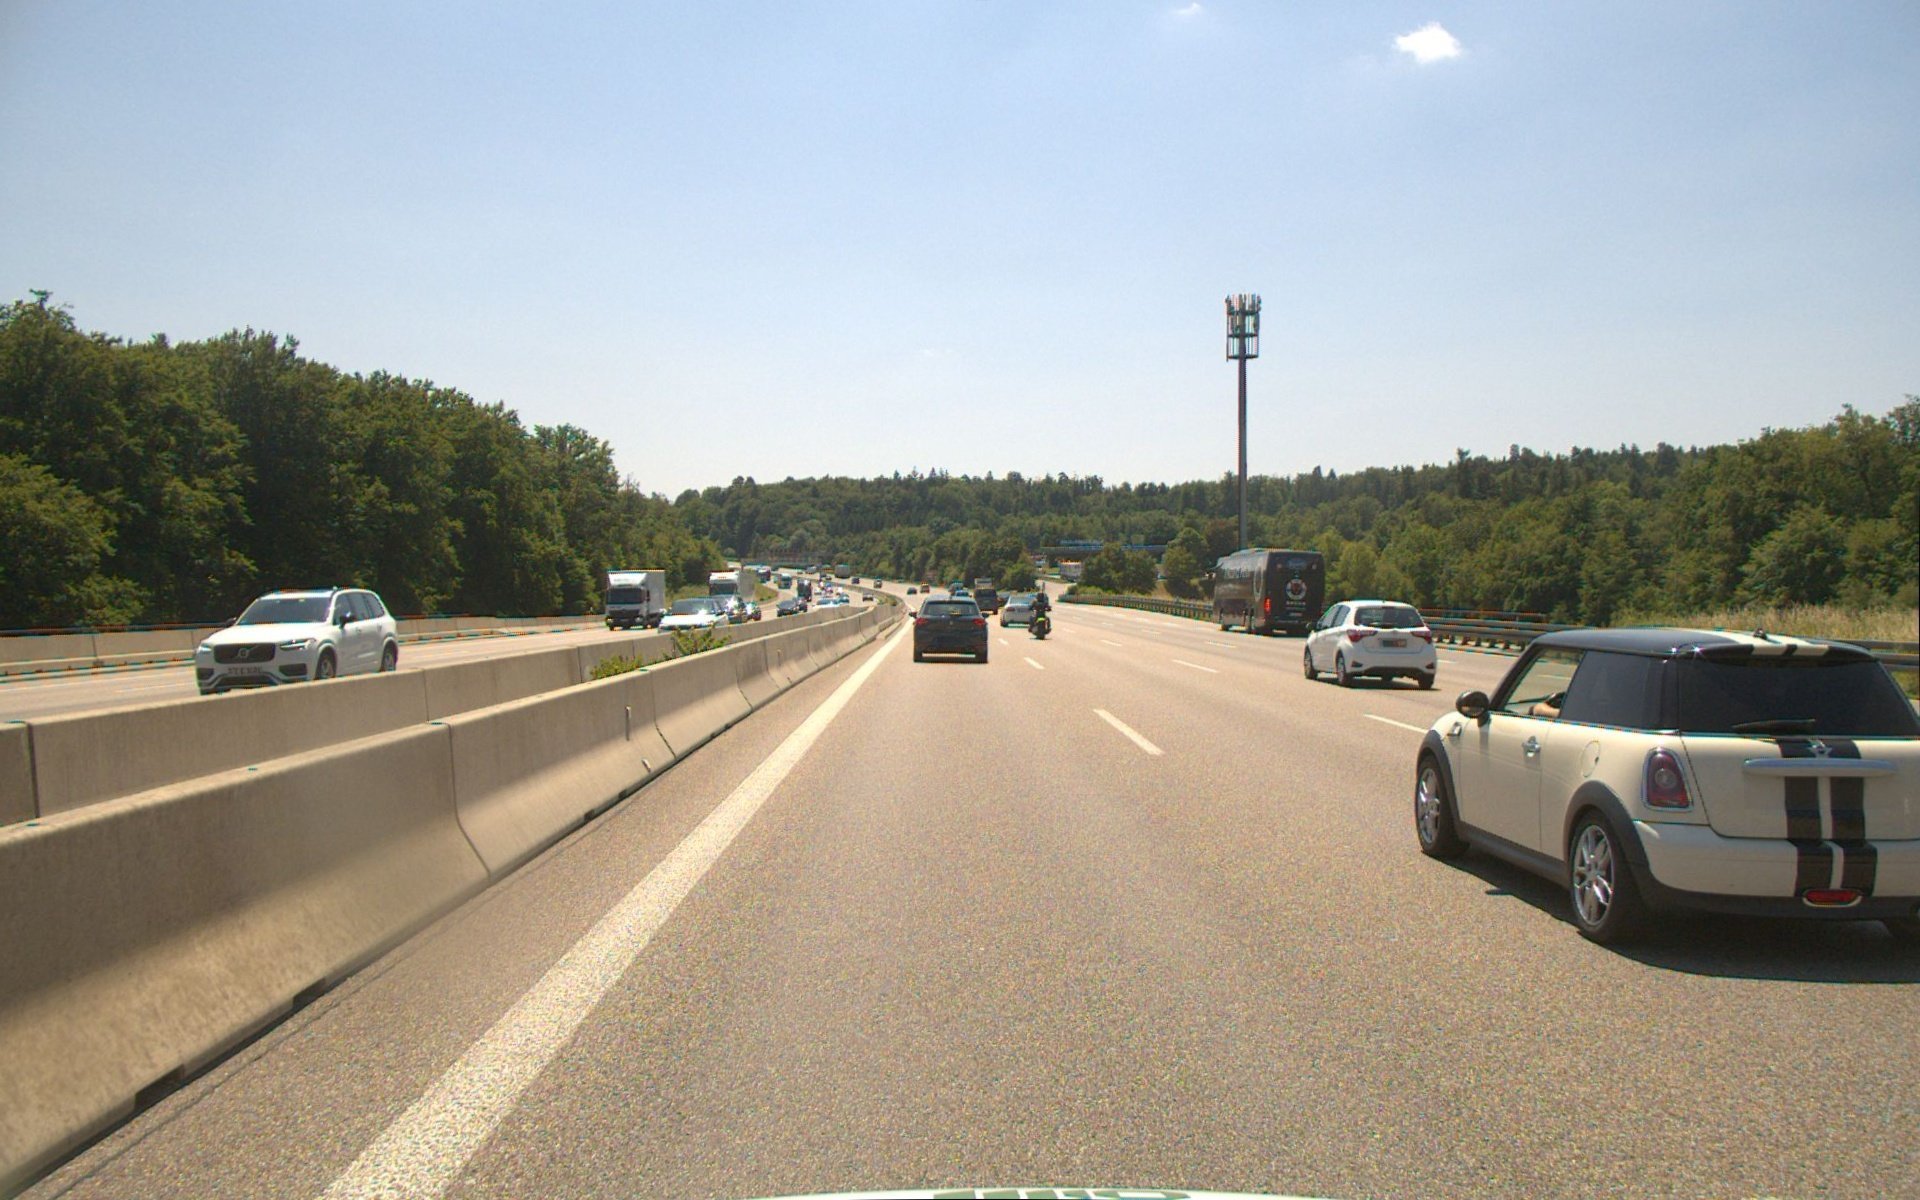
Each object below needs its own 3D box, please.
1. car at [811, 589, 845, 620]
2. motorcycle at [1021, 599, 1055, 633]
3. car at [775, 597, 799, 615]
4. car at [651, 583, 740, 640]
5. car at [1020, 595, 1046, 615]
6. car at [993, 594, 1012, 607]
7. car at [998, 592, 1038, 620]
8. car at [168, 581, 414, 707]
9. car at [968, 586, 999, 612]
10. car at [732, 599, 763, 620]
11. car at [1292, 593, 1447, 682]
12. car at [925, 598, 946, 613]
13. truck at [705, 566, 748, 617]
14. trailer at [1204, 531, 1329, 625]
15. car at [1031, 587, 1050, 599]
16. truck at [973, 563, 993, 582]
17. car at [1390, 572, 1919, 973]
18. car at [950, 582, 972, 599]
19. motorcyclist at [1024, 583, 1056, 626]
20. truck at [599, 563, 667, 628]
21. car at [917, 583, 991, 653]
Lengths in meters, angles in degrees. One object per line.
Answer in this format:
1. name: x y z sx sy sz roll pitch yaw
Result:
1. car: -8.674 0.253 109.033 1.737 1.912 5.211 1 1 0
2. motorcycle: 2.734 0.550 58.421 0.958 1.149 2.270 -1 1 -3
3. car: -15.664 0.559 149.998 1.761 1.506 4.396 -2 0 -1
4. car: -7.751 0.307 48.878 1.811 1.550 5.317 -2 0 -1
5. car: 5.500 0.392 124.668 1.641 1.456 3.684 -1 0 -2
6. car: 4.058 0.012 159.869 1.576 1.233 3.458 -1 0 -2
7. car: 2.718 0.262 78.133 1.746 1.287 3.459 0 0 -1
8. car: -10.911 0.640 27.465 1.953 1.819 5.317 -2 0 -1
9. car: 1.784 -0.081 126.160 2.056 1.884 4.077 -1 0 -4
10. car: -15.753 0.685 122.519 1.761 1.400 4.531 1 0 -1
11. car: 7.416 0.630 30.366 1.632 1.458 4.374 -2 0 -2
12. car: -2.073 0.442 140.438 1.506 1.233 3.456 -1 0 -5
13. truck: -20.393 -0.735 144.709 2.660 4.171 7.875 -2 0 -1
14. trailer: 13.393 -0.873 73.631 2.799 3.752 13.539 -1 0 -1
15. car: 8.242 -0.699 169.411 1.576 1.233 3.458 -1 0 -2
16. truck: 3.578 -4.331 258.696 2.673 2.835 5.677 1 1 -5
17. car: 3.713 0.677 8.754 1.803 1.579 4.000 0 2 0
18. car: 0.063 -1.046 179.053 1.955 1.713 4.419 1 1 -5
19. motorcyclist: 2.812 0.144 58.245 0.943 1.462 1.234 -2 1 -5
20. truck: -19.758 -0.269 100.319 2.488 3.633 8.574 -2 0 -2
21. car: -0.156 0.446 37.784 1.591 1.513 3.684 0 -2 -1
